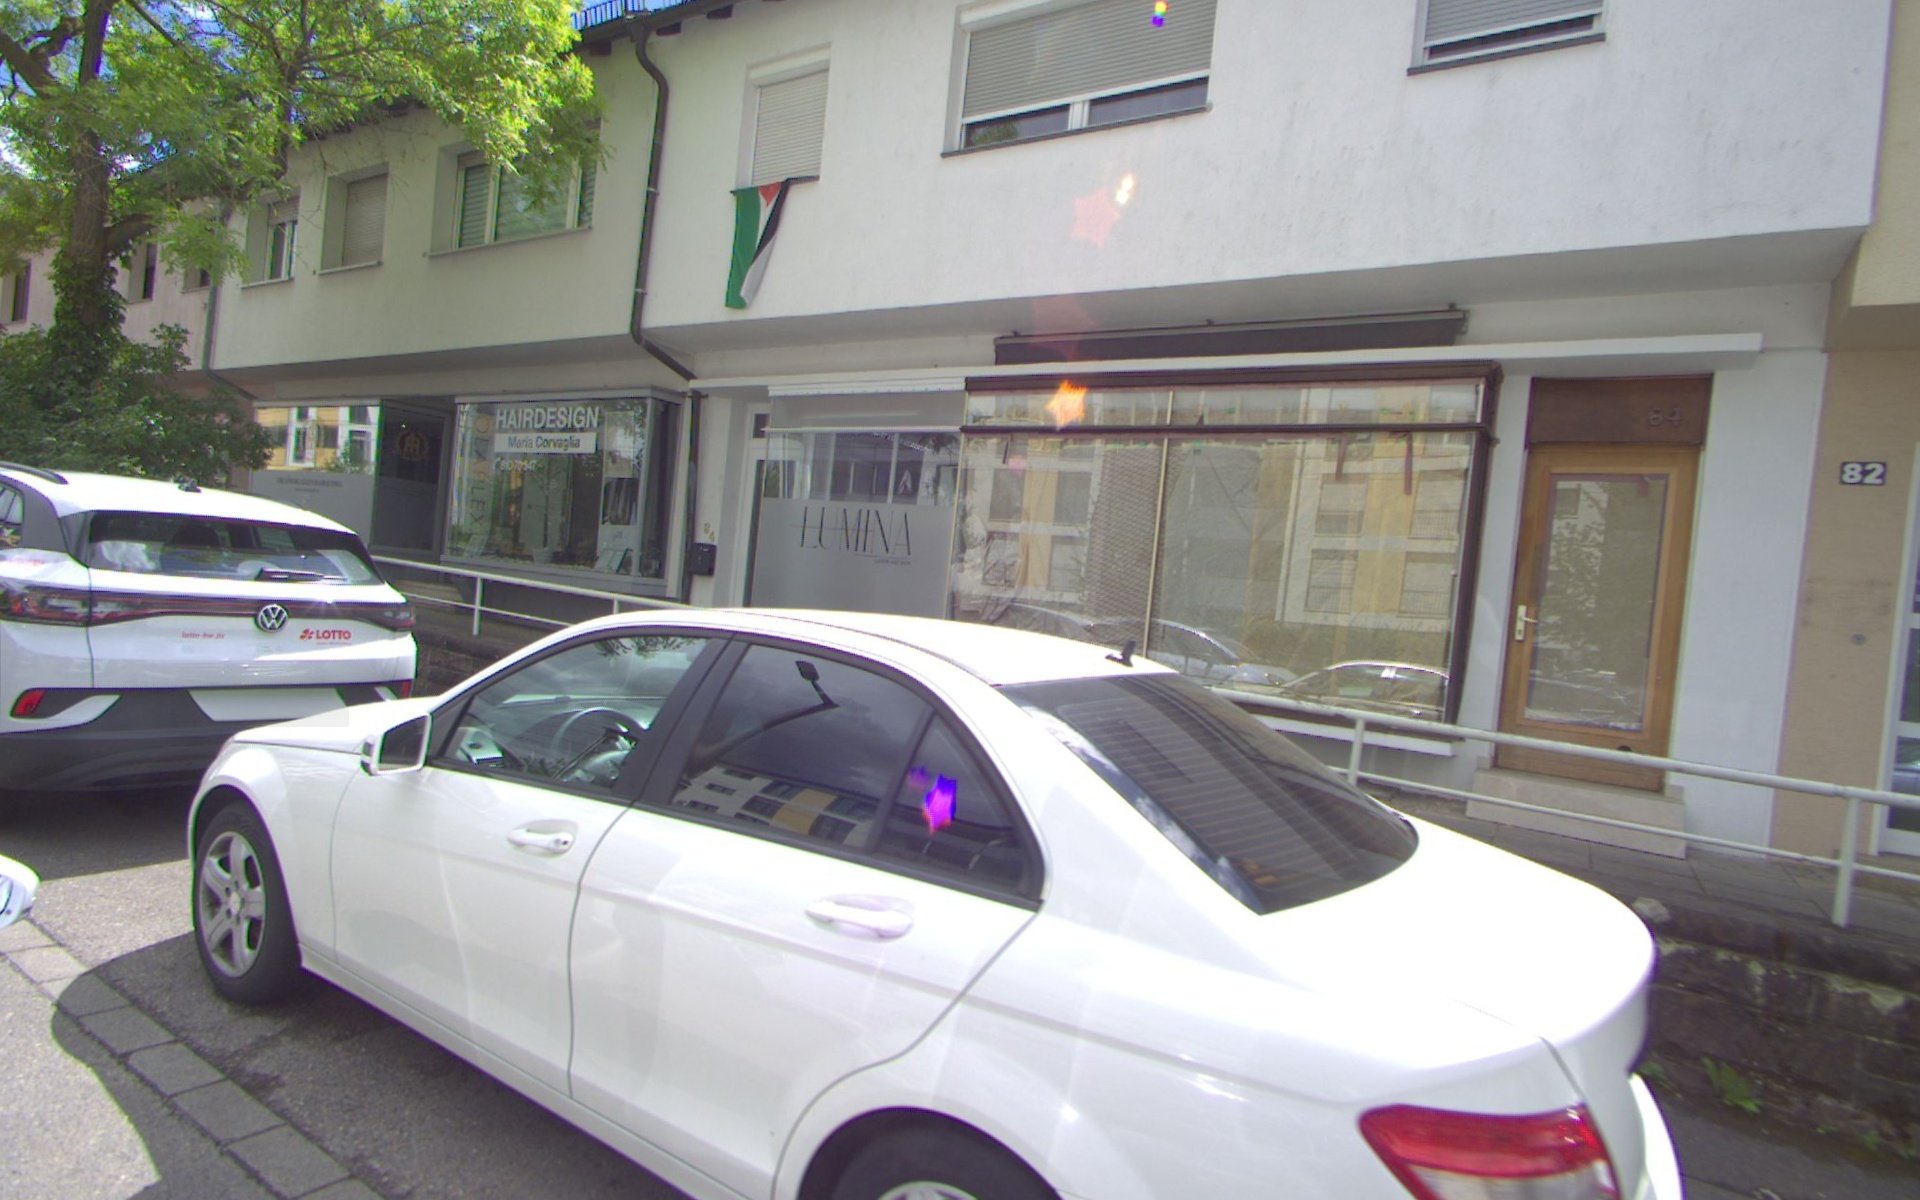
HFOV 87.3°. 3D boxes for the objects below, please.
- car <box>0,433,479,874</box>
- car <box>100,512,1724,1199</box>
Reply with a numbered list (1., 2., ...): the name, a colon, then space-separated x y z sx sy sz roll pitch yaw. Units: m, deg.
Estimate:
1. car: -4.946 0.066 5.681 4.356 1.663 1.840 7 0 32
2. car: -0.620 0.688 3.026 4.373 1.443 1.726 7 0 33
